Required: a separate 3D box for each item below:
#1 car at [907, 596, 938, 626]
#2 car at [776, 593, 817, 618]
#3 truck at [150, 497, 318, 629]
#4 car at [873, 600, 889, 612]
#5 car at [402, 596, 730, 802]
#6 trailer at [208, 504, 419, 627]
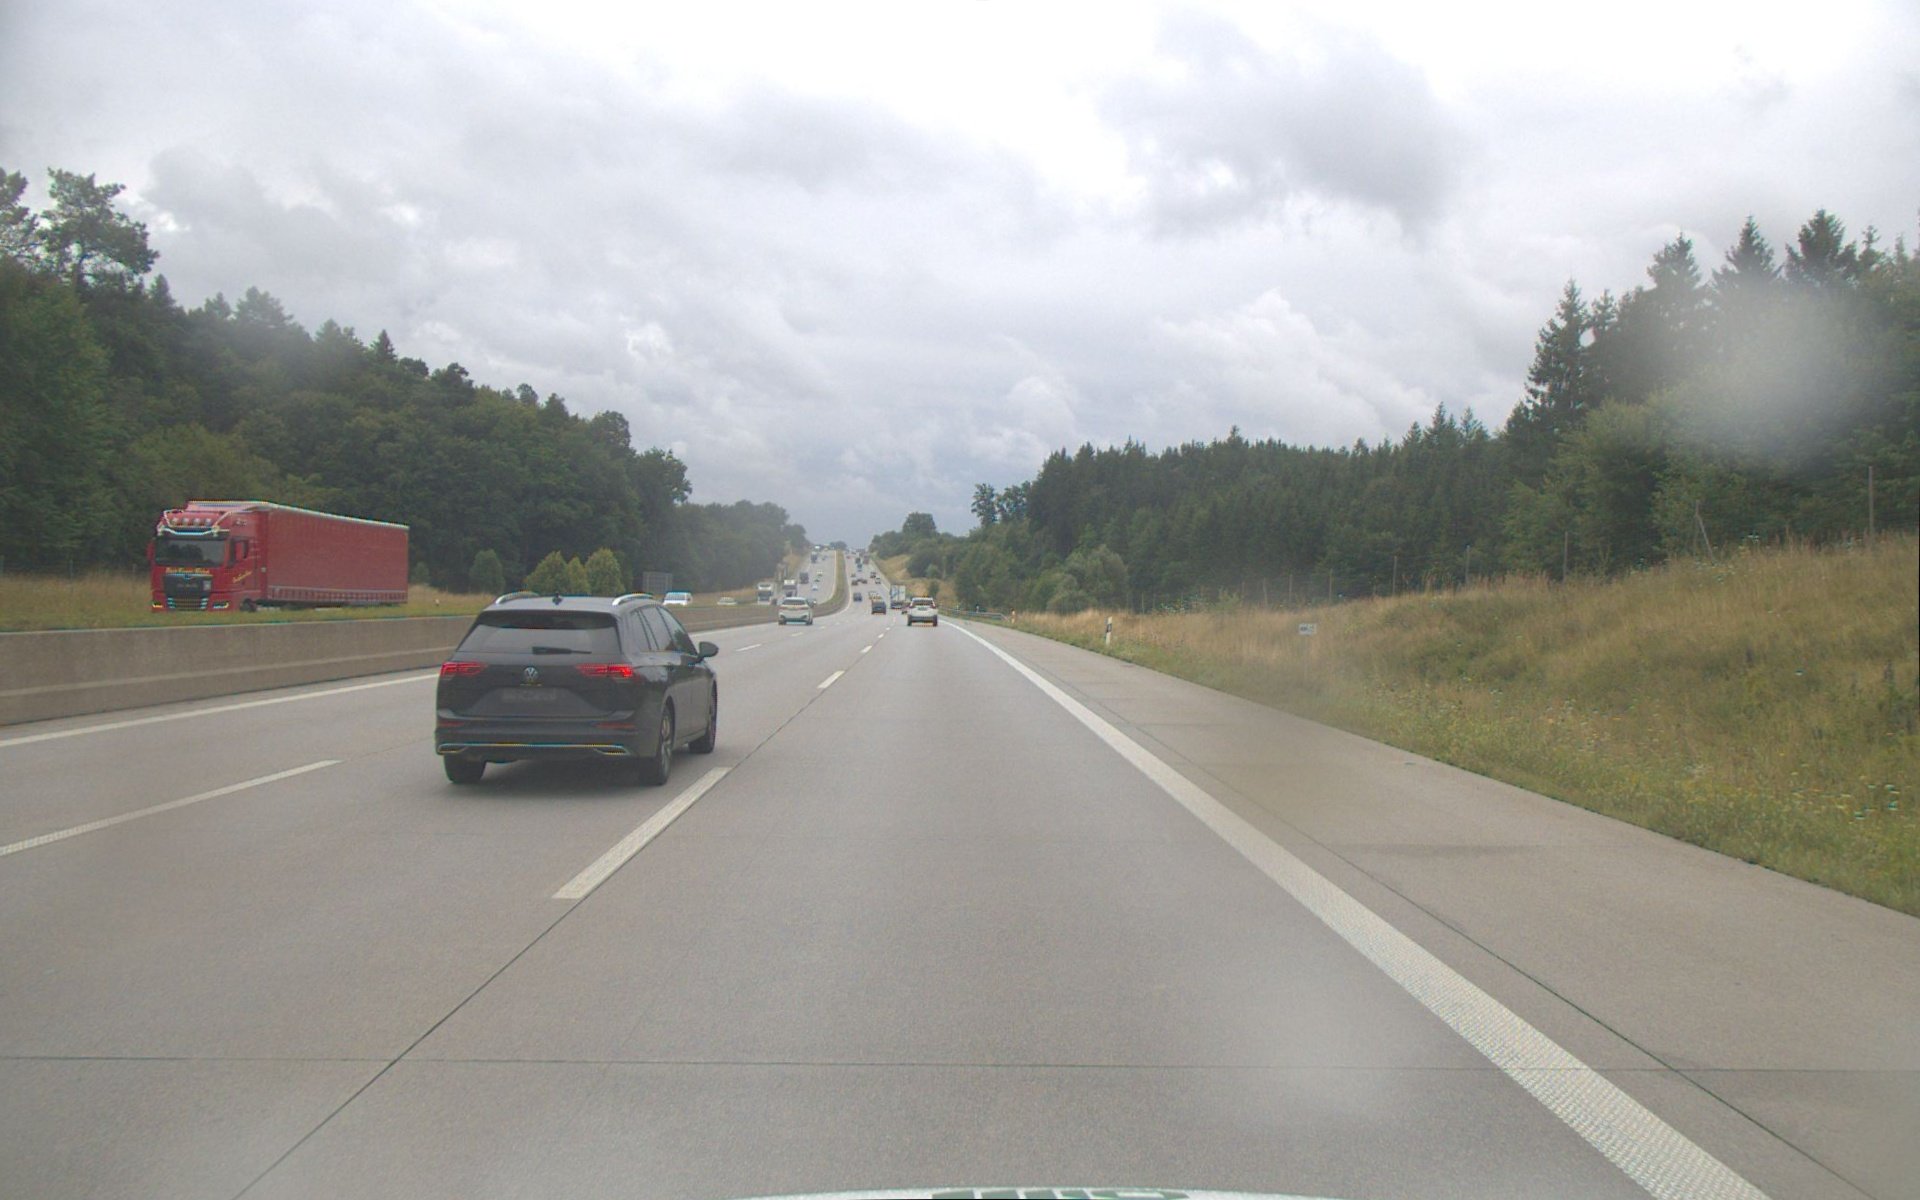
[{"bbox_3d":[-2.218,0.623,98.245,1.788,1.684,3.984,1,0,-1],"label":"car"},{"bbox_3d":[-9.377,0.288,95.119,1.908,1.379,4.259,1,0,-1],"label":"car"},{"bbox_3d":[-23.543,-1.148,54.042,2.501,3.996,6.945,1,0,-1],"label":"truck"},{"bbox_3d":[-10.195,0.749,212.866,1.897,1.399,4.591,1,1,-3],"label":"car"},{"bbox_3d":[-3.106,0.699,13.973,1.717,1.422,4.483,1,0,-1],"label":"car"},{"bbox_3d":[-23.747,-1.189,61.926,2.555,4.013,14.374,1,0,-2],"label":"trailer"}]
